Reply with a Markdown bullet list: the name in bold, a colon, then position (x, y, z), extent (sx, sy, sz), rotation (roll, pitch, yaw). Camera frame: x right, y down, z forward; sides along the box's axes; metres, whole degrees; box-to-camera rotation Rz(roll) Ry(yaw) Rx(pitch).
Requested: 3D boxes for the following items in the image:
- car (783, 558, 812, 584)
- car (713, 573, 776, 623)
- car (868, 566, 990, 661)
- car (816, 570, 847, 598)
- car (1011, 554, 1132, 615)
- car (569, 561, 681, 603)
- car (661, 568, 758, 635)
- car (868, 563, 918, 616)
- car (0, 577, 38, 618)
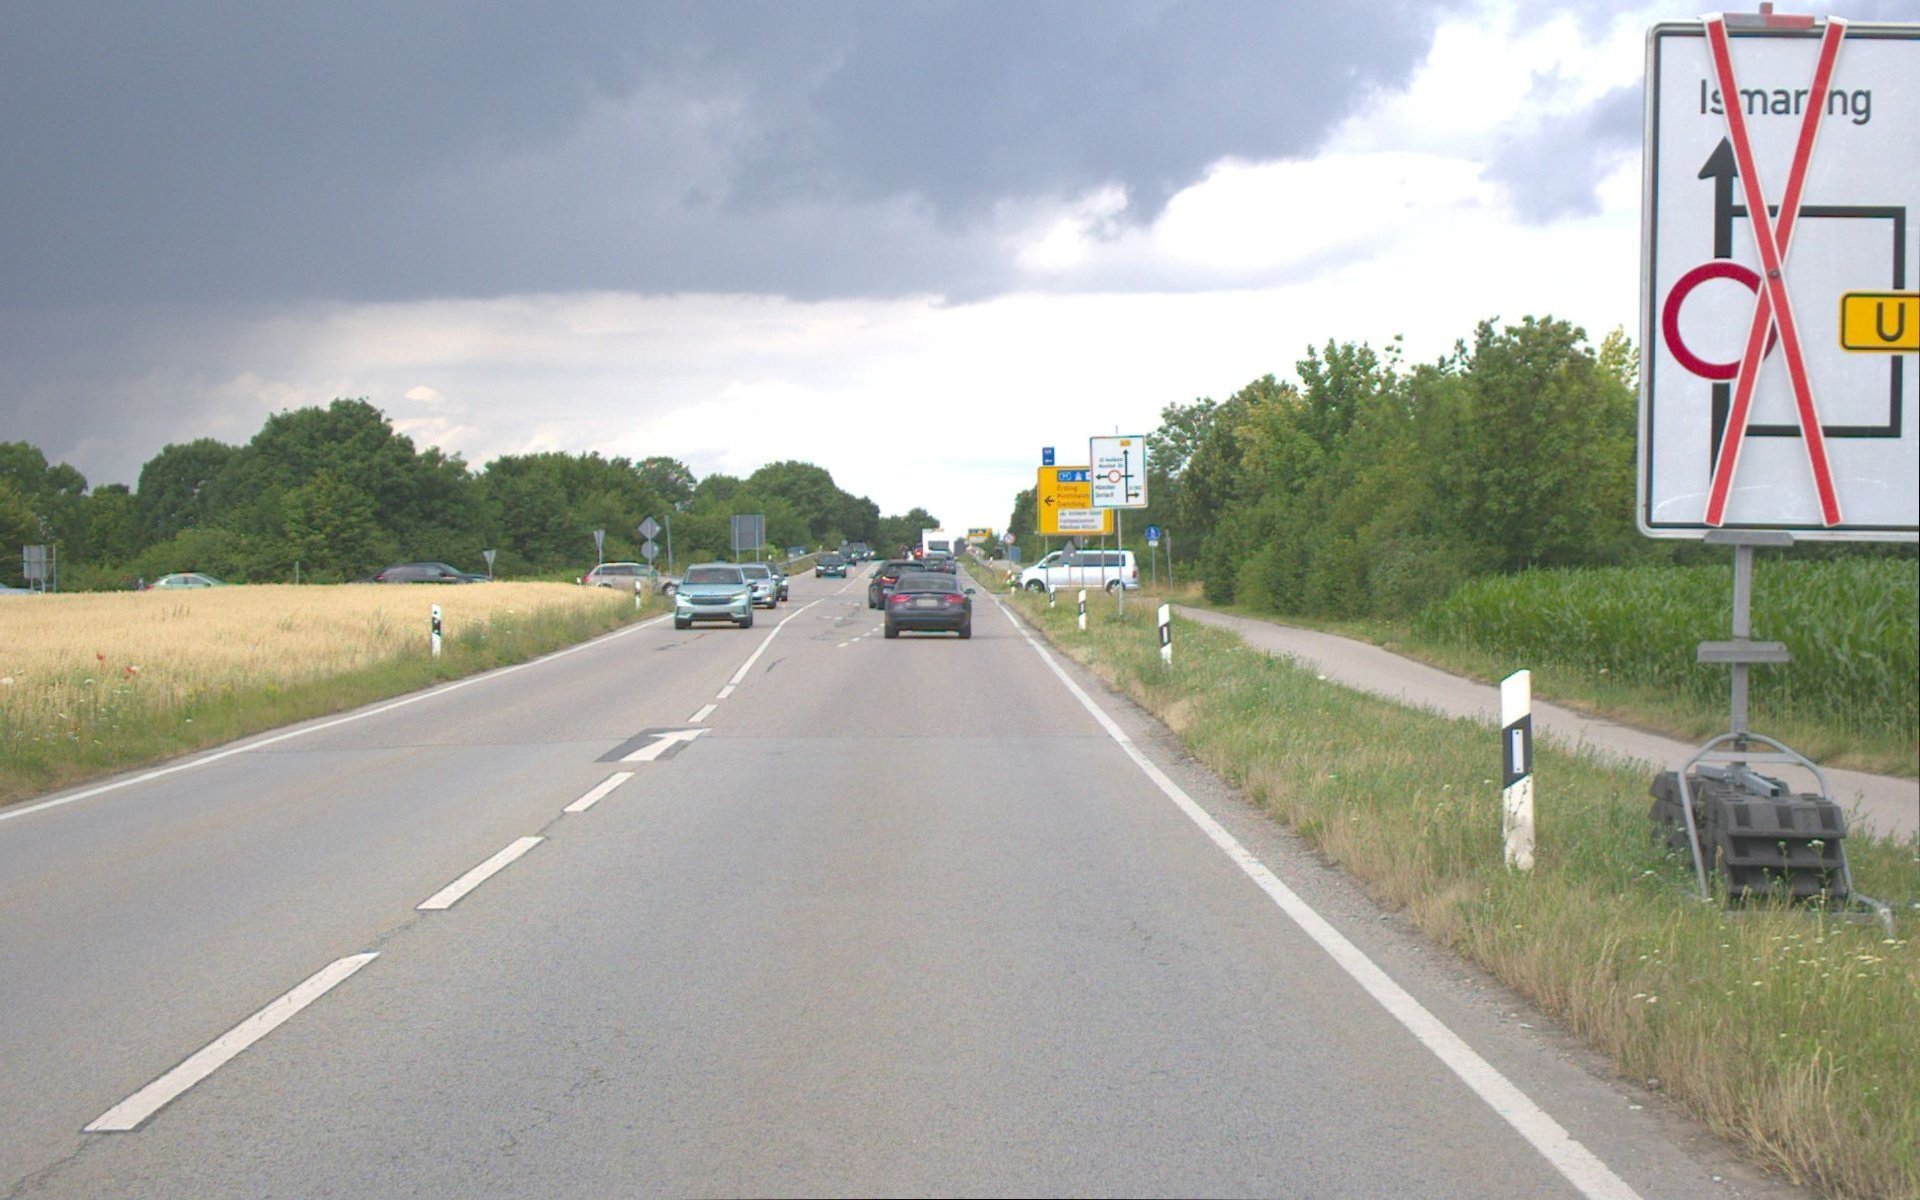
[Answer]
- **car**: position (-10.389, -1.864, 220.523), extent (1.646, 1.585, 4.000), rotation (-1, 0, 0)
- **car**: position (-7.098, -0.080, 113.557), extent (1.767, 1.596, 4.930), rotation (-1, 0, 0)
- **car**: position (-0.696, 0.278, 73.641), extent (2.371, 1.874, 4.478), rotation (-2, 0, -3)
- **car**: position (-7.497, -0.935, 201.415), extent (1.646, 1.585, 4.000), rotation (-1, 0, 0)
- **car**: position (4.615, -0.654, 142.906), extent (4.835, 2.443, 2.006), rotation (-1, 0, -3)
- **car**: position (-13.499, -0.726, 138.619), extent (4.412, 1.643, 1.502), rotation (-1, 0, -5)
- **car**: position (-6.246, 0.014, 86.254), extent (2.065, 1.575, 4.765), rotation (-2, 1, -1)
- **car**: position (-2.176, -0.341, 112.967), extent (1.571, 1.695, 4.000), rotation (-1, 0, 0)
- **car**: position (-39.920, -0.096, 140.200), extent (4.072, 1.643, 1.866), rotation (-1, 0, 4)
